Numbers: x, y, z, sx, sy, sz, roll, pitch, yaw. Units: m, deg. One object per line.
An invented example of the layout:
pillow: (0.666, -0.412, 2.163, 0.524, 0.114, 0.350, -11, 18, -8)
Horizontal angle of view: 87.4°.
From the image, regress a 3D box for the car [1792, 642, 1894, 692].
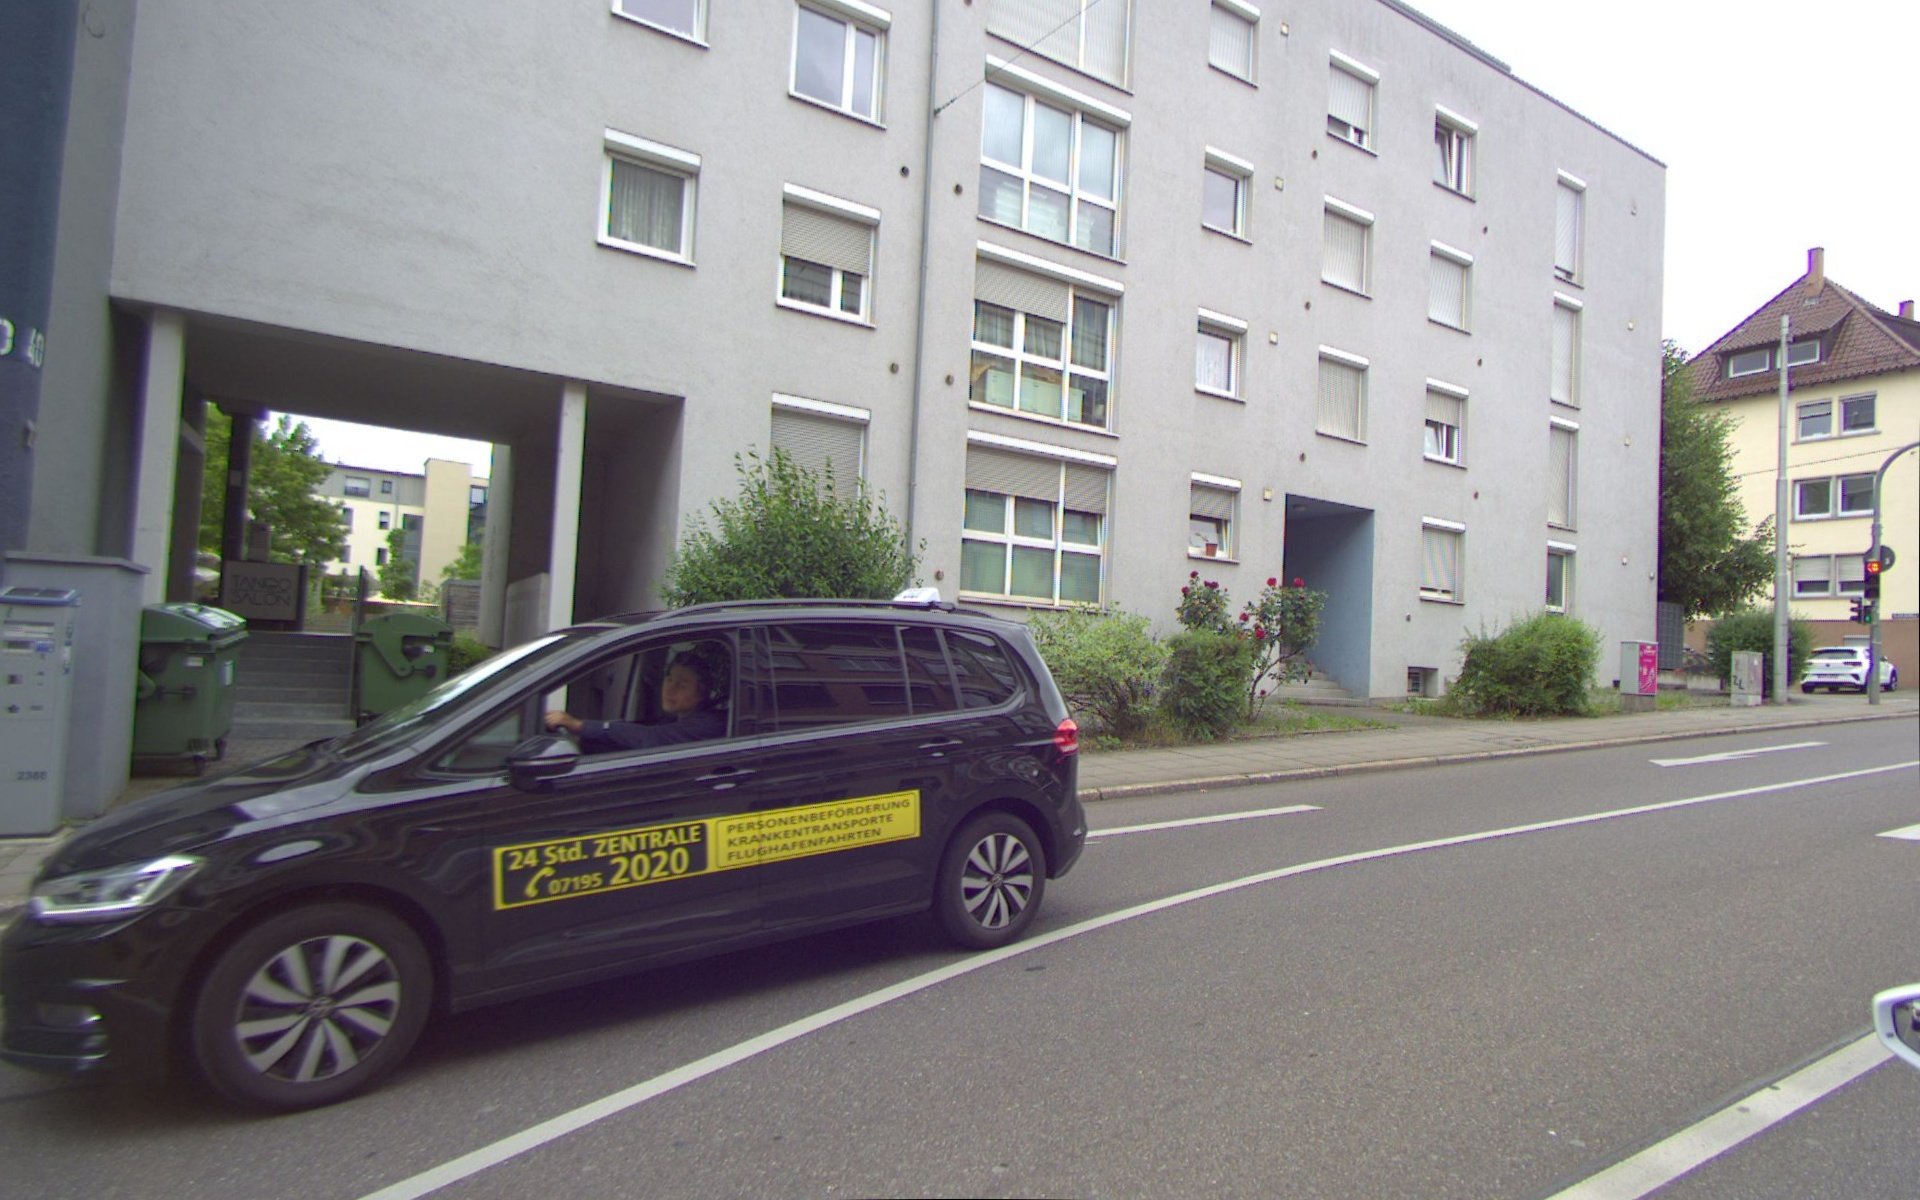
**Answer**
car: (29.988, 2.254, 34.108, 3.727, 1.575, 1.681, 1, -4, -34)

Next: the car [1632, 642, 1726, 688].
car: (27.446, 2.462, 38.322, 3.727, 1.629, 1.681, 1, -4, -34)

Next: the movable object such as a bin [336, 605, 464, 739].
movable object such as a bin: (-6.830, 0.874, 12.287, 1.177, 1.497, 1.139, 6, -4, -29)

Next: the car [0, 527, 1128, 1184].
car: (-1.370, 0.779, 4.654, 4.267, 1.729, 1.772, 2, -4, -37)

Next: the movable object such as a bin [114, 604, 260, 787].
movable object such as a bin: (-6.902, 0.807, 9.039, 0.774, 1.475, 1.260, 2, 1, -26)
